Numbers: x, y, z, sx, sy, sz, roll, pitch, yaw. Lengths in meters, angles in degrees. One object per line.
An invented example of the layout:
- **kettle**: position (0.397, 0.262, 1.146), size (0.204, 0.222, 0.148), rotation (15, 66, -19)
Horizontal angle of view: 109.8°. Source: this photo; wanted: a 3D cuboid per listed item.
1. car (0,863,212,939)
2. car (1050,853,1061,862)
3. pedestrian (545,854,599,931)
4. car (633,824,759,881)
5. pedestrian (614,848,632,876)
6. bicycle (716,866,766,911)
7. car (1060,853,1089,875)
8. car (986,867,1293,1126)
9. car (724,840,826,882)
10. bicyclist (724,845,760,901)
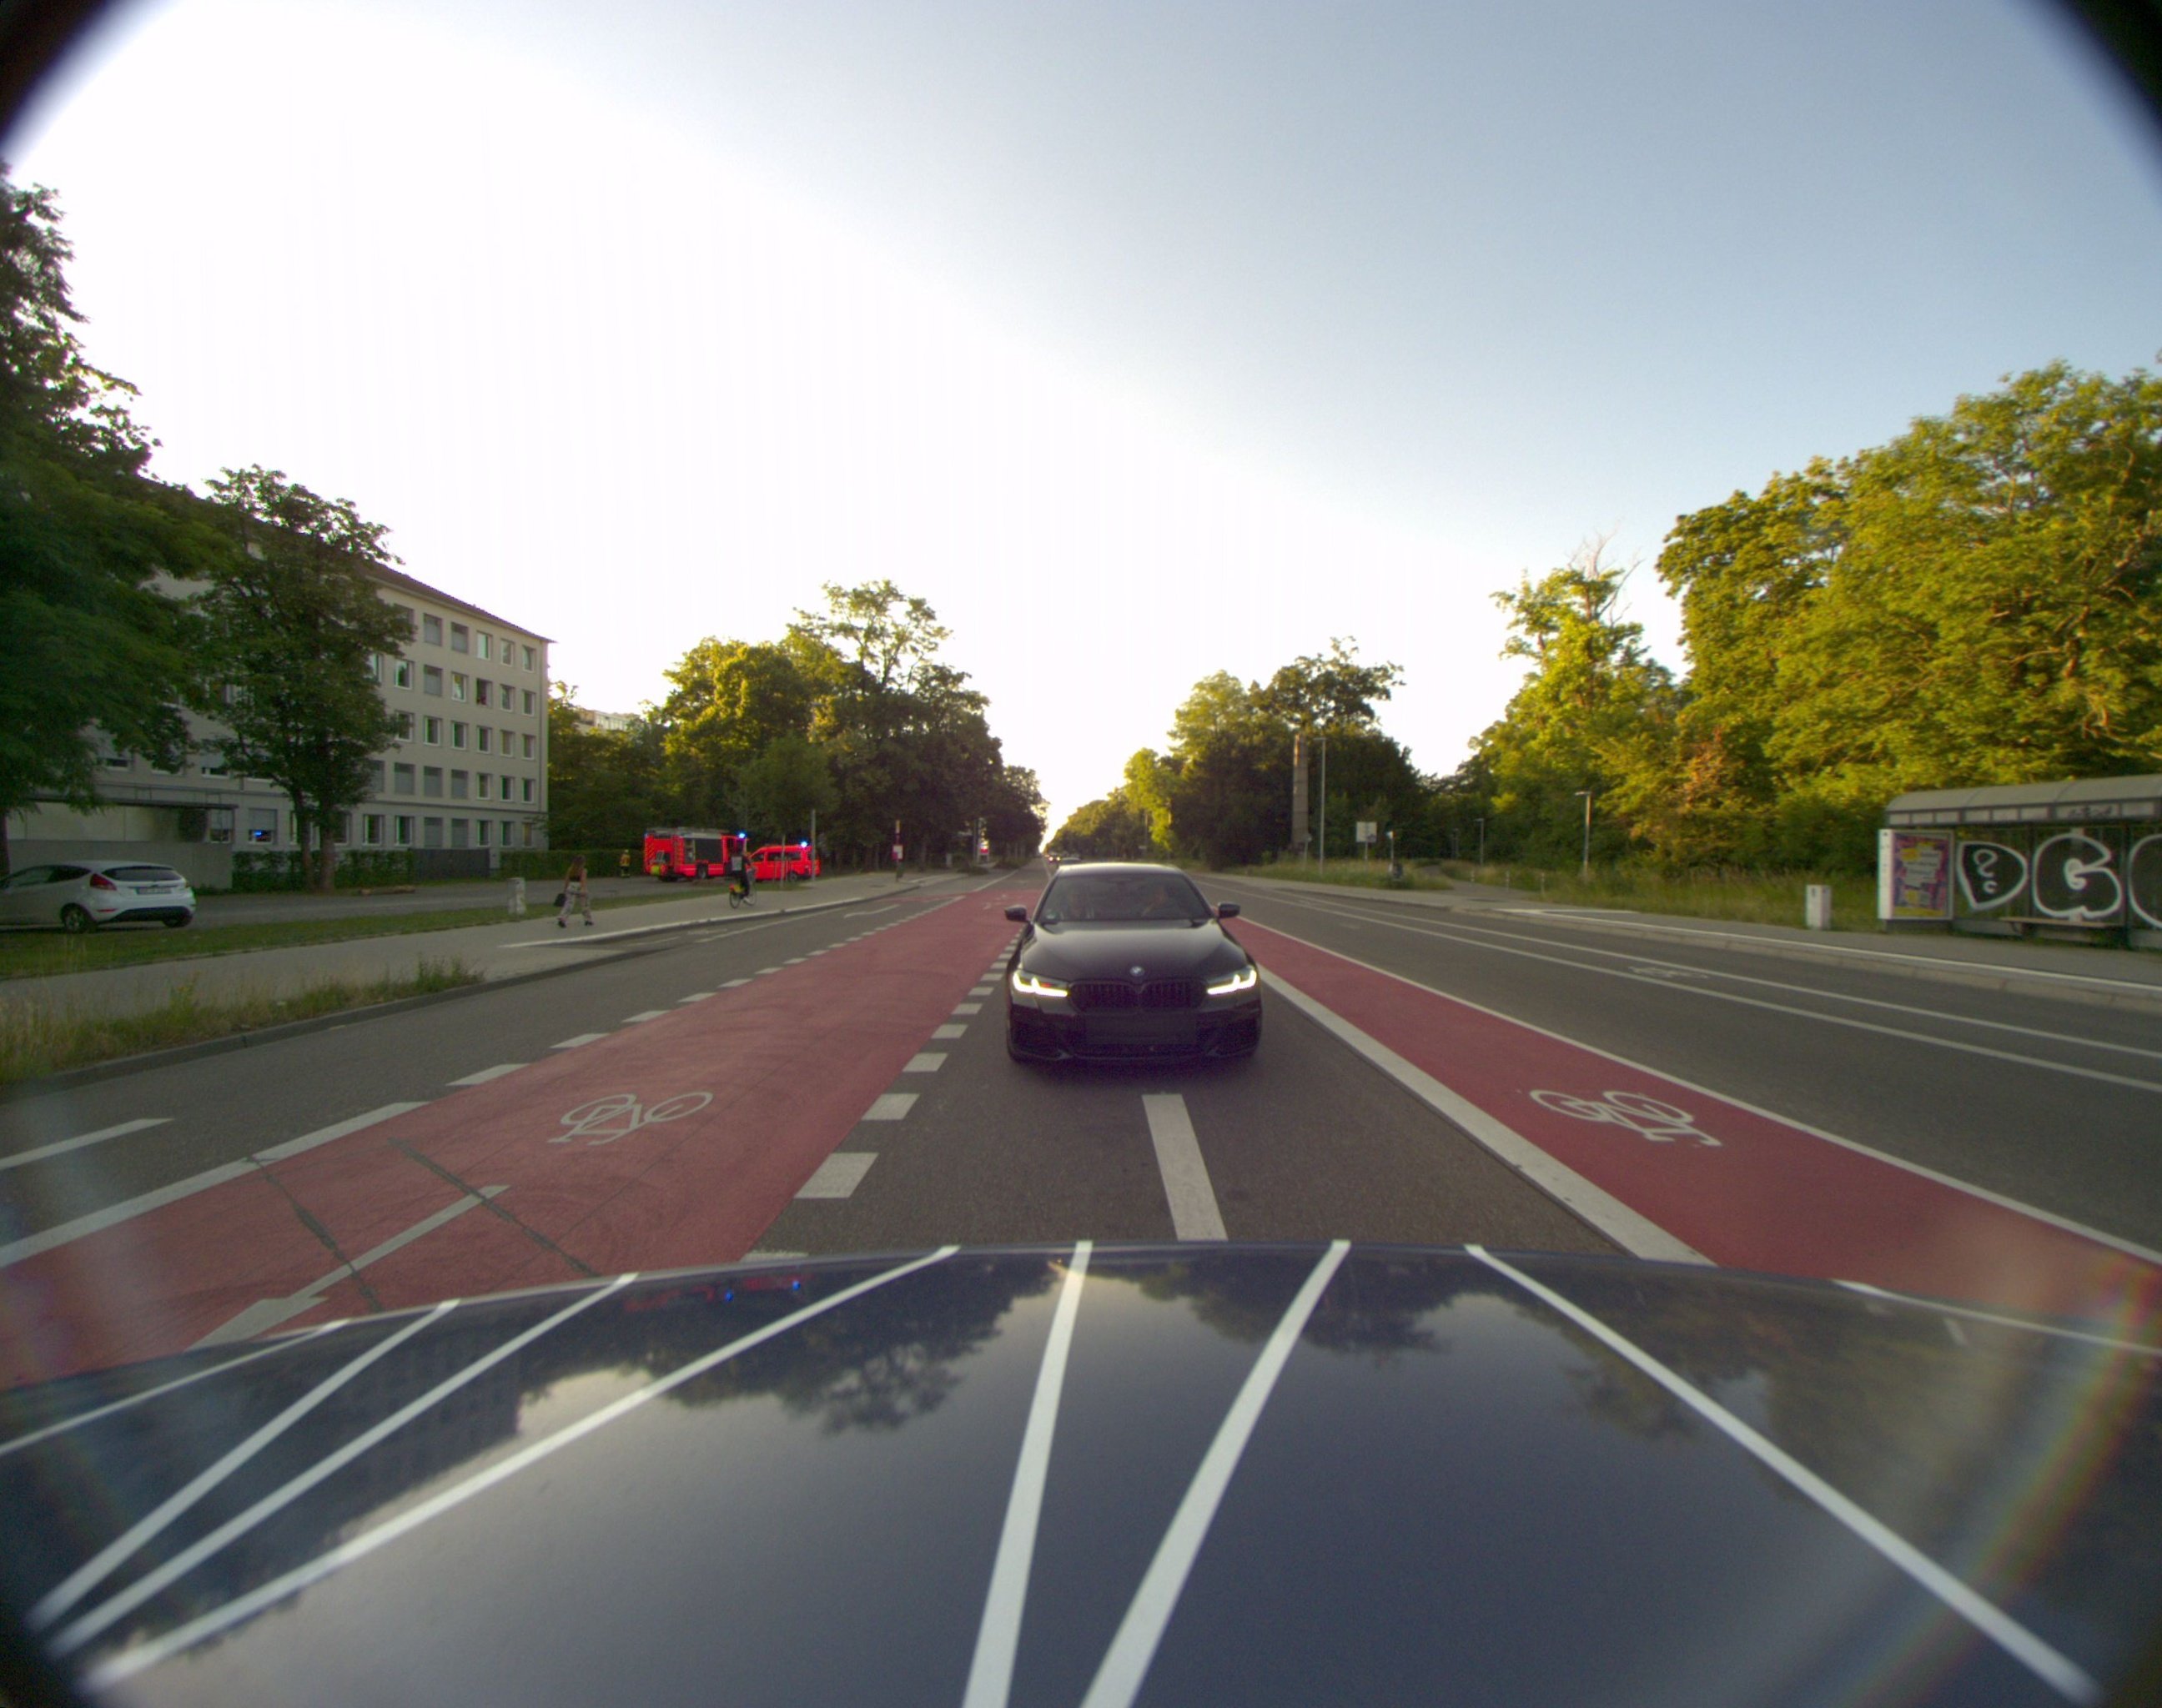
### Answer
- **car**: position (-20.818, 0.926, 15.872), size (3.662, 1.451, 1.665), rotation (0, 1, 5)
- **car**: position (-4.507, 0.573, 132.818), size (1.850, 1.473, 4.702), rotation (-2, 0, -1)
- **pedestrian**: position (-10.898, 0.816, 16.286), size (0.682, 1.613, 0.688), rotation (0, 0, 1)
- **car**: position (-23.621, -0.133, 47.230), size (2.770, 3.225, 8.301), rotation (0, 0, 7)
- **pedestrian**: position (-29.643, 0.528, 49.226), size (0.846, 1.831, 0.682), rotation (0, 0, -17)
- **bicycle**: position (-9.931, 0.987, 22.268), size (0.571, 1.233, 1.899), rotation (0, 1, 1)
- **car**: position (-0.476, 0.684, 52.465), size (1.850, 1.346, 4.702), rotation (-2, 0, -1)
- **car**: position (0.322, 0.909, 7.226), size (1.818, 1.391, 5.212), rotation (-2, 0, -1)
- **car**: position (-17.941, 0.398, 44.701), size (5.164, 2.379, 2.000), rotation (0, 1, 3)
- **bicyclist**: position (-9.932, 0.539, 22.309), size (0.571, 1.623, 1.038), rotation (0, 1, 1)
